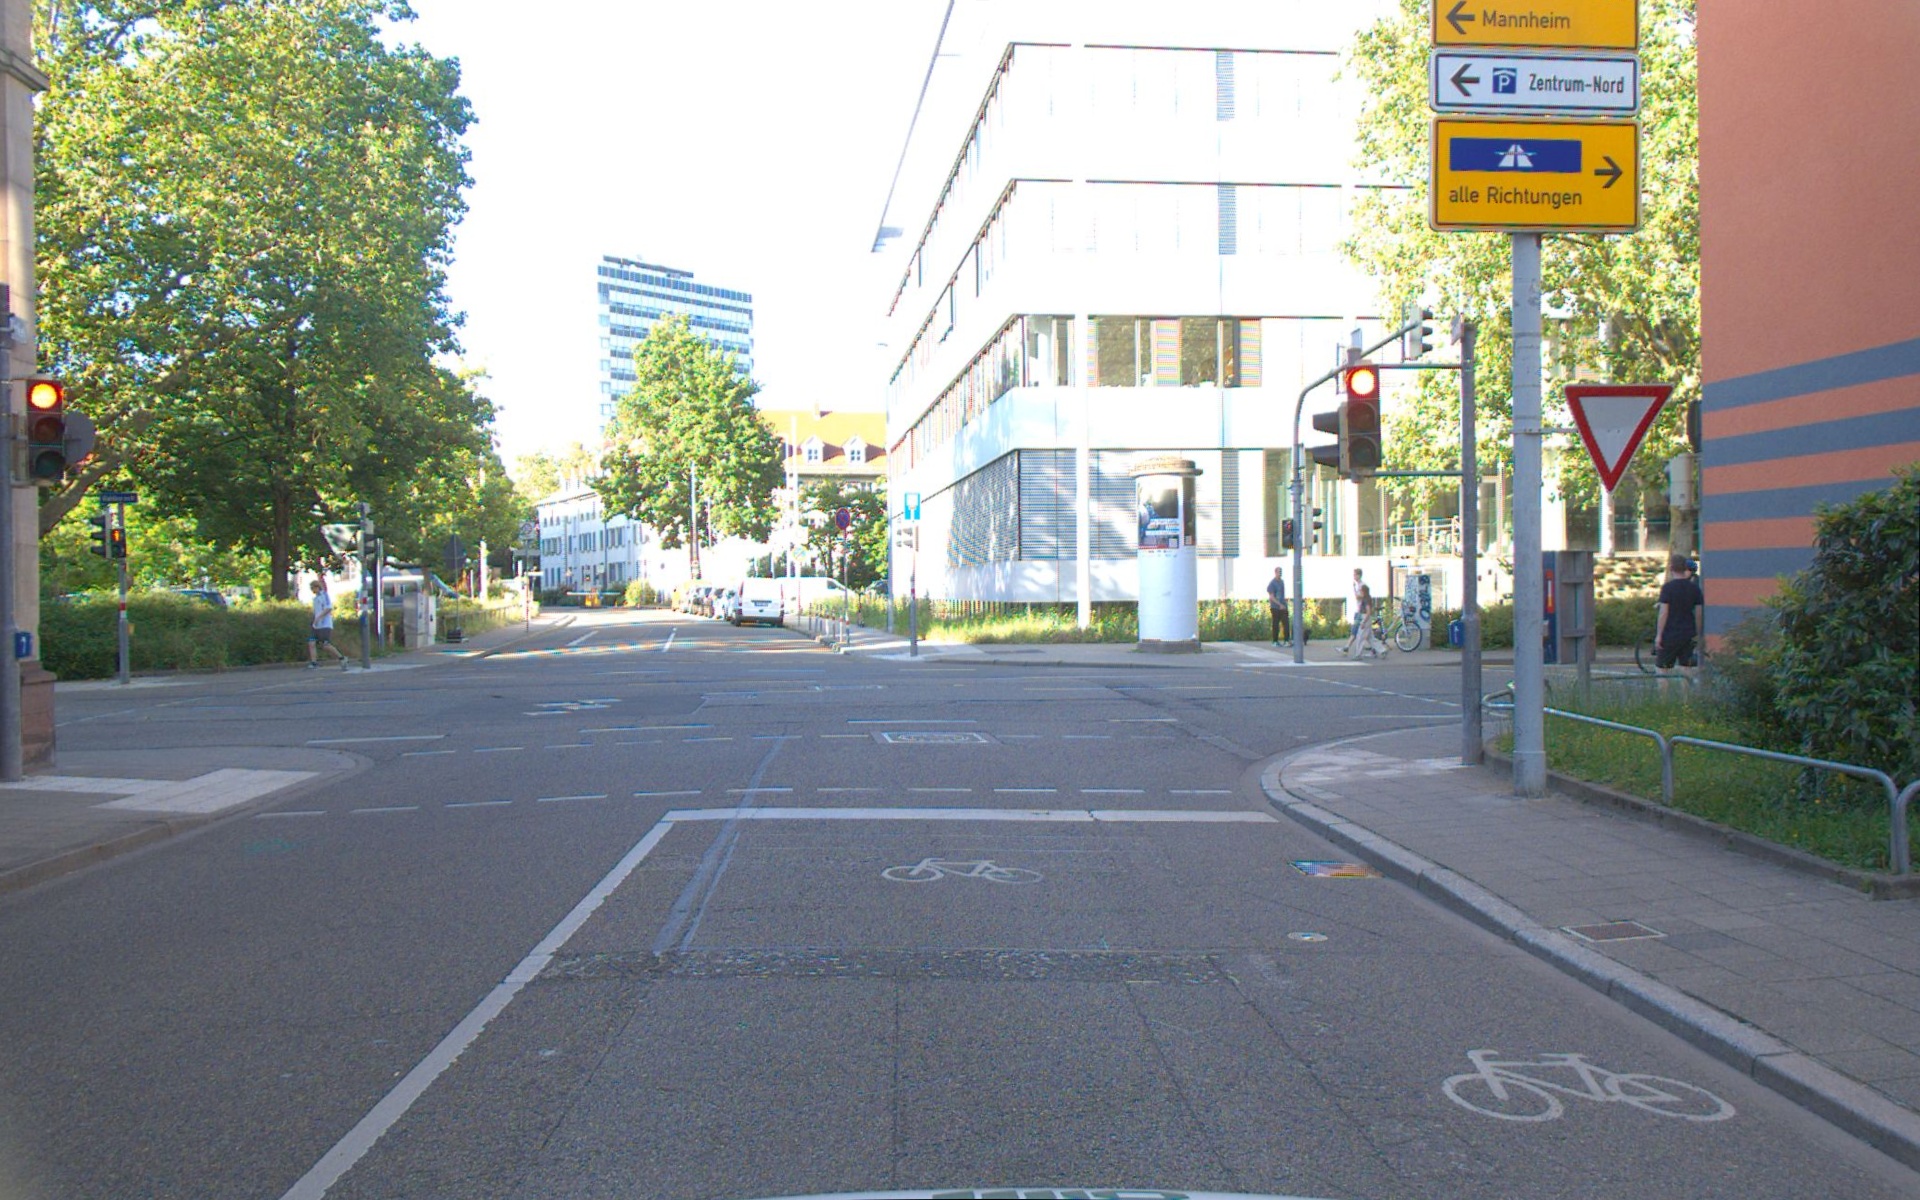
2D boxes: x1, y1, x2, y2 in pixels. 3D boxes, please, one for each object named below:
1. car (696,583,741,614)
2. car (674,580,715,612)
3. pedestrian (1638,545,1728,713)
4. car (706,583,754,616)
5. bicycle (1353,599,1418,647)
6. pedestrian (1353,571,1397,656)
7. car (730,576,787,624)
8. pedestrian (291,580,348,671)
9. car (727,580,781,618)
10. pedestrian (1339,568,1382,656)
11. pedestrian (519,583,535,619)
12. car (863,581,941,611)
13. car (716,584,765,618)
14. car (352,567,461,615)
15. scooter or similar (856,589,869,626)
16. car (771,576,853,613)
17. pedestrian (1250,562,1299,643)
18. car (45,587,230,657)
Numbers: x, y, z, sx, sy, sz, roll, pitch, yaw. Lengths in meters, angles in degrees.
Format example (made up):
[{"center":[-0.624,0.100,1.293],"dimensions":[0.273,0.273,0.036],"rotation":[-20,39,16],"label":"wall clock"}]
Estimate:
[{"center":[-12.553,-0.058,85.790],"dimensions":[1.959,1.525,4.637],"rotation":[1,0,-13],"label":"car"},{"center":[-15.387,-0.220,95.605],"dimensions":[1.960,1.755,4.635],"rotation":[1,0,-14],"label":"car"},{"center":[8.185,0.321,18.721],"dimensions":[0.713,1.842,0.691],"rotation":[1,-1,-42],"label":"pedestrian"},{"center":[-11.310,-0.016,81.084],"dimensions":[1.959,1.525,4.272],"rotation":[1,0,-13],"label":"car"},{"center":[9.325,0.505,36.285],"dimensions":[0.376,1.026,1.410],"rotation":[-1,0,-42],"label":"bicycle"},{"center":[8.585,0.277,34.263],"dimensions":[0.749,1.749,0.648],"rotation":[1,-1,2],"label":"pedestrian"},{"center":[-7.917,0.010,64.703],"dimensions":[1.957,1.755,4.641],"rotation":[1,0,-10],"label":"car"},{"center":[-13.497,0.532,34.850],"dimensions":[0.909,1.901,0.731],"rotation":[1,-1,-42],"label":"pedestrian"},{"center":[-8.870,-0.025,70.903],"dimensions":[1.958,1.525,4.639],"rotation":[1,0,-11],"label":"car"},{"center":[8.474,0.250,34.981],"dimensions":[0.749,1.826,0.648],"rotation":[1,-1,2],"label":"pedestrian"},{"center":[-19.621,0.065,74.960],"dimensions":[0.688,1.614,0.634],"rotation":[1,-1,-16],"label":"pedestrian"},{"center":[-3.679,-0.242,104.725],"dimensions":[4.563,1.755,1.991],"rotation":[1,0,-17],"label":"car"},{"center":[-10.196,0.052,76.653],"dimensions":[1.958,1.525,4.639],"rotation":[1,0,-11],"label":"car"},{"center":[-24.964,-0.396,74.681],"dimensions":[4.363,2.049,1.995],"rotation":[1,0,-10],"label":"car"},{"center":[-3.428,0.262,58.237],"dimensions":[0.429,1.278,1.418],"rotation":[-1,0,-5],"label":"scooter or similar"},{"center":[-9.204,-0.358,102.798],"dimensions":[4.718,2.196,1.990],"rotation":[1,0,-18],"label":"car"},{"center":[7.238,0.054,38.068],"dimensions":[0.896,1.847,0.761],"rotation":[1,-1,28],"label":"pedestrian"},{"center":[-18.365,0.480,37.064],"dimensions":[3.347,1.483,1.646],"rotation":[1,0,-11],"label":"car"}]
